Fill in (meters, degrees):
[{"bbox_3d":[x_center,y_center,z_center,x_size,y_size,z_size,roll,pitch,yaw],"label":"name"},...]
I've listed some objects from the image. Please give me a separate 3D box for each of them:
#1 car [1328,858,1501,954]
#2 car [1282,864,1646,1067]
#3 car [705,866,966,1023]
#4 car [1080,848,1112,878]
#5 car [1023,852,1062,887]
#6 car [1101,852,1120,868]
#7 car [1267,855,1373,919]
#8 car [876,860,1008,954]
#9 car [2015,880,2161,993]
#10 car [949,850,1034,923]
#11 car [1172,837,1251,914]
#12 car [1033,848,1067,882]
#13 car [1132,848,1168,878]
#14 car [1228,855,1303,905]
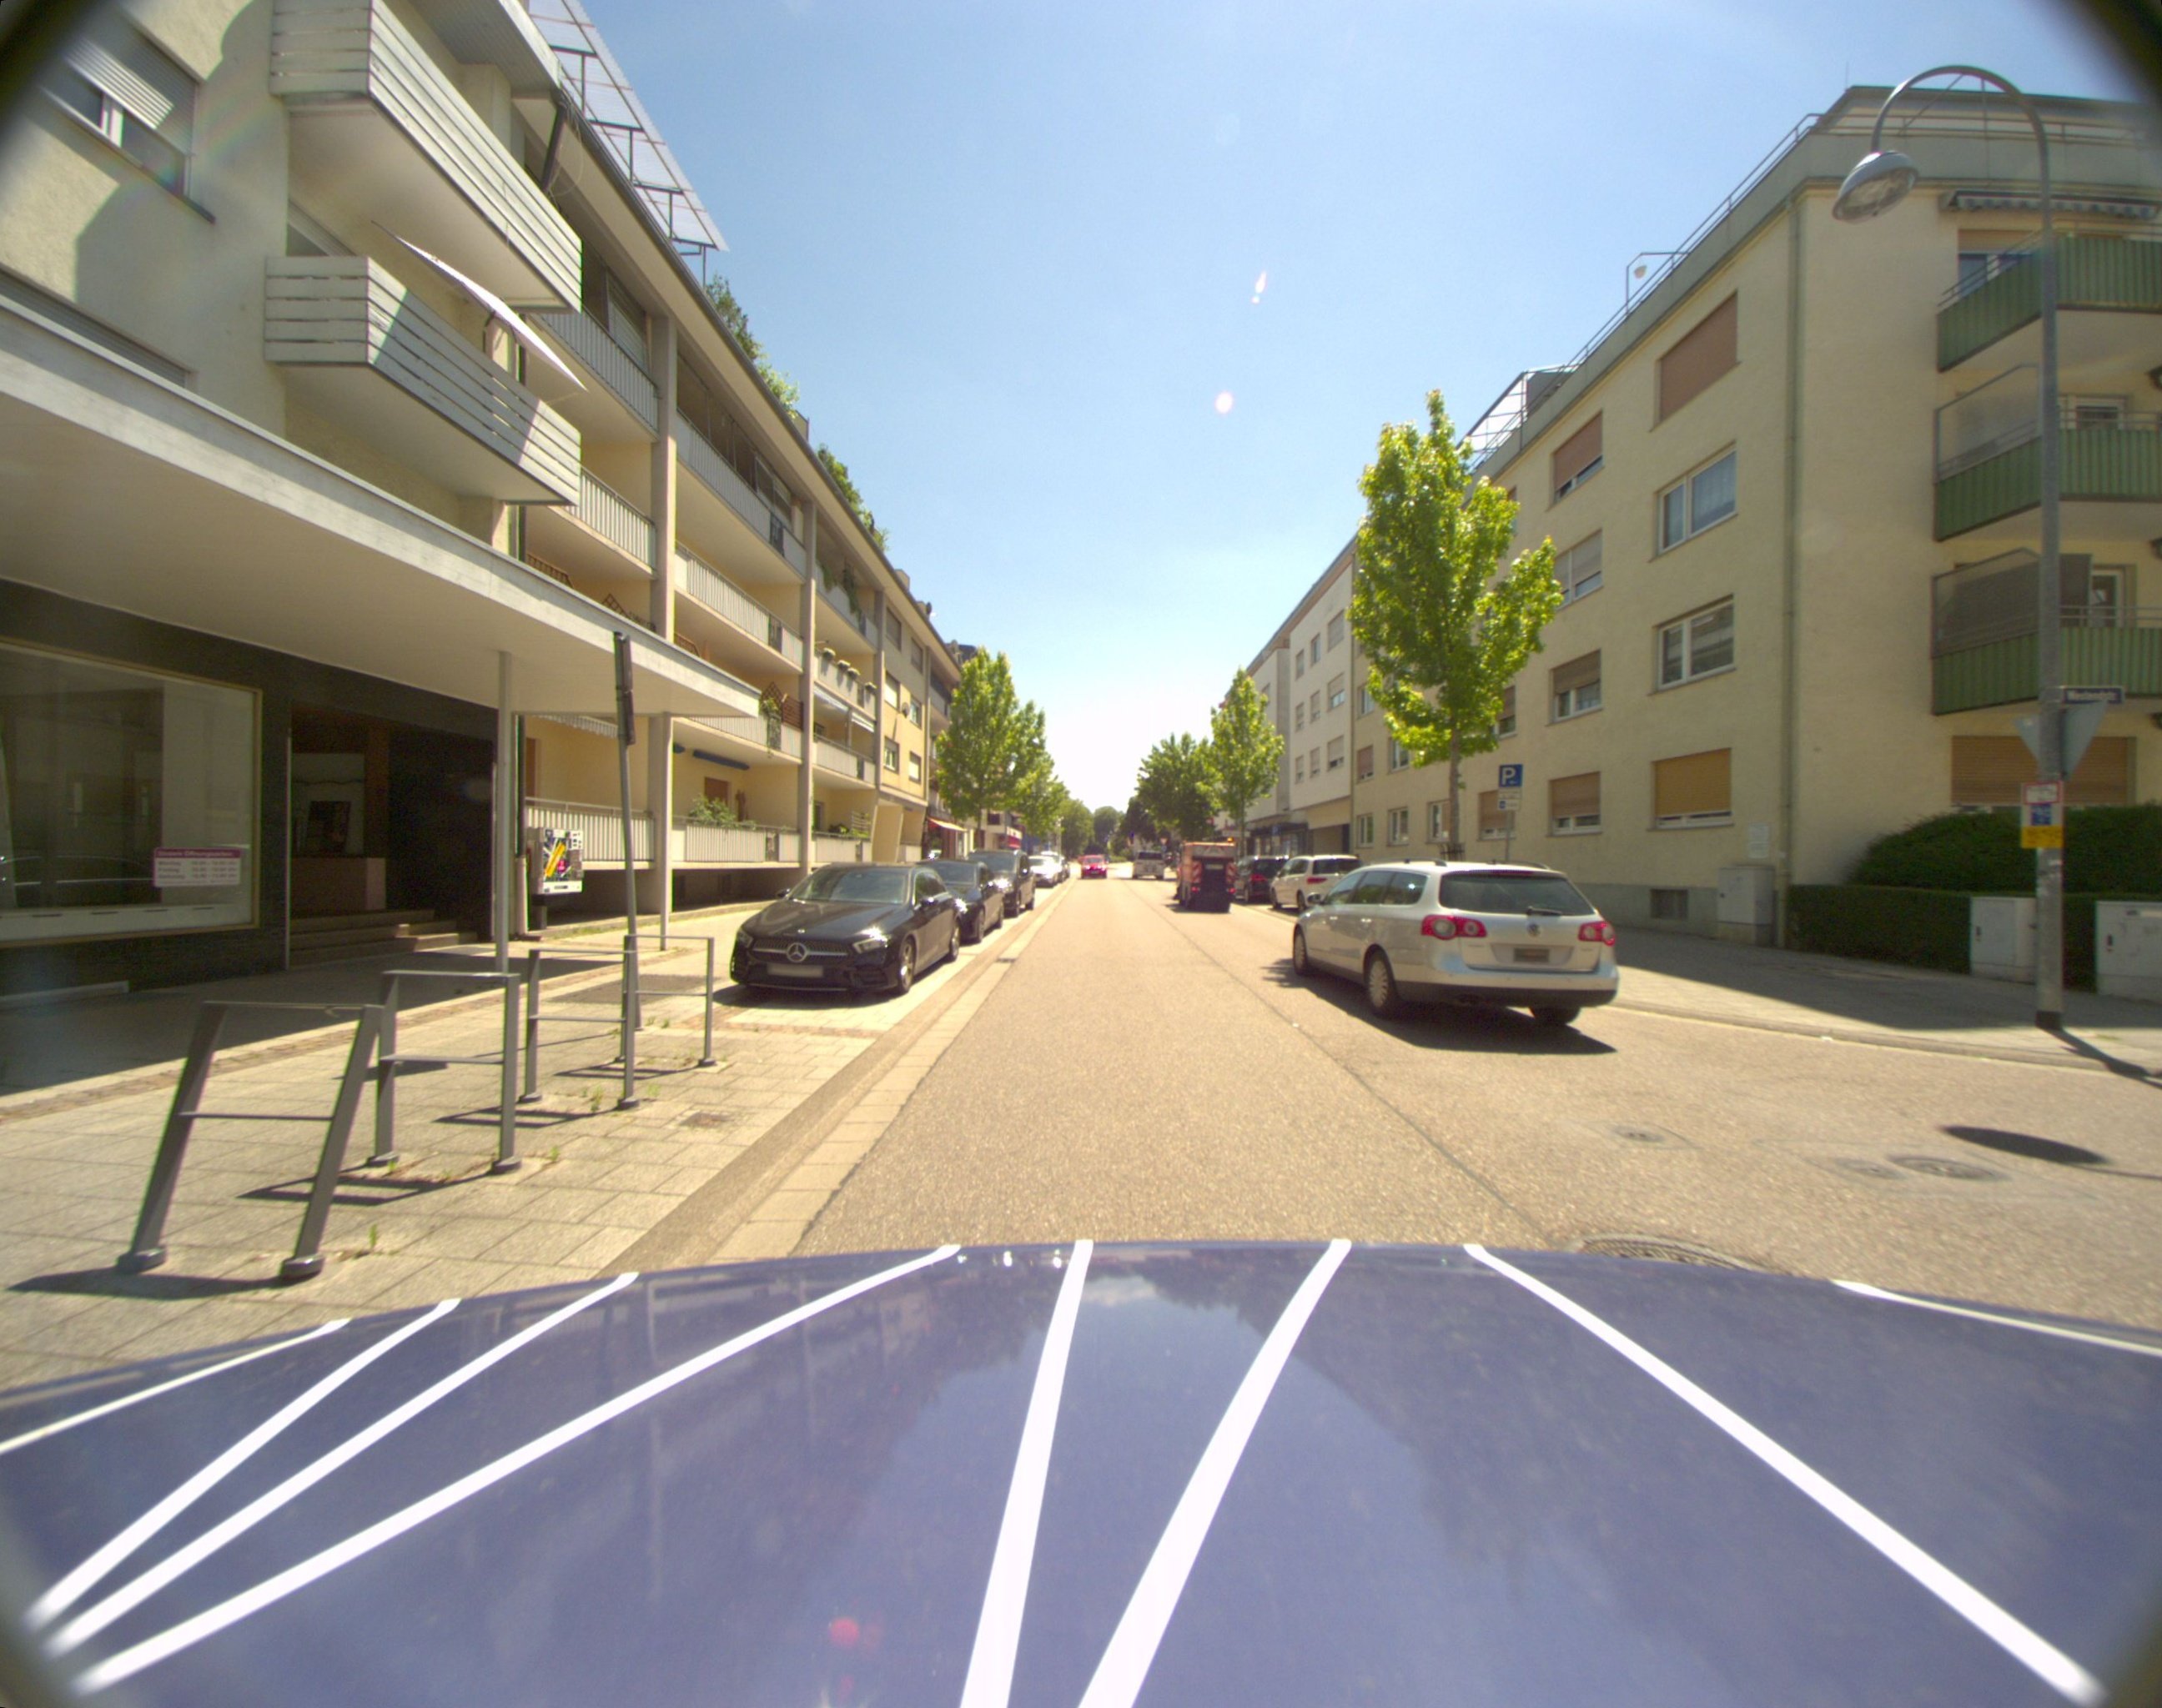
[{"bbox_3d":[6.631,0.940,15.671,1.731,1.660,4.294,-1,0,1],"label":"car"},{"bbox_3d":[3.560,0.901,8.093,1.731,1.500,4.294,1,0,1],"label":"car"},{"bbox_3d":[-2.706,0.916,9.457,1.818,1.379,4.115,2,0,1],"label":"car"},{"bbox_3d":[1.008,0.584,50.930,2.000,1.880,4.294,-1,0,1],"label":"car"},{"bbox_3d":[-1.943,0.768,39.036,1.731,1.680,4.115,1,0,1],"label":"car"},{"bbox_3d":[2.927,0.597,75.359,1.698,1.594,3.812,0,0,0],"label":"car"},{"bbox_3d":[6.848,0.863,22.229,1.731,1.660,4.294,-1,0,0],"label":"car"},{"bbox_3d":[-2.506,0.906,14.691,1.731,1.499,4.115,1,0,1],"label":"car"},{"bbox_3d":[15.772,1.173,10.181,1.751,1.499,3.748,0,0,-7],"label":"car"},{"bbox_3d":[-2.313,0.787,20.574,1.731,1.752,4.115,1,0,1],"label":"car"},{"bbox_3d":[4.003,0.609,23.889,1.731,2.154,4.294,2,0,1],"label":"car"},{"bbox_3d":[-1.791,0.604,44.579,1.731,1.861,4.115,1,0,1],"label":"car"},{"bbox_3d":[4.538,0.571,50.741,2.000,1.880,4.294,2,0,1],"label":"car"},{"bbox_3d":[6.574,0.869,27.511,1.731,1.660,4.294,-1,0,1],"label":"car"}]
